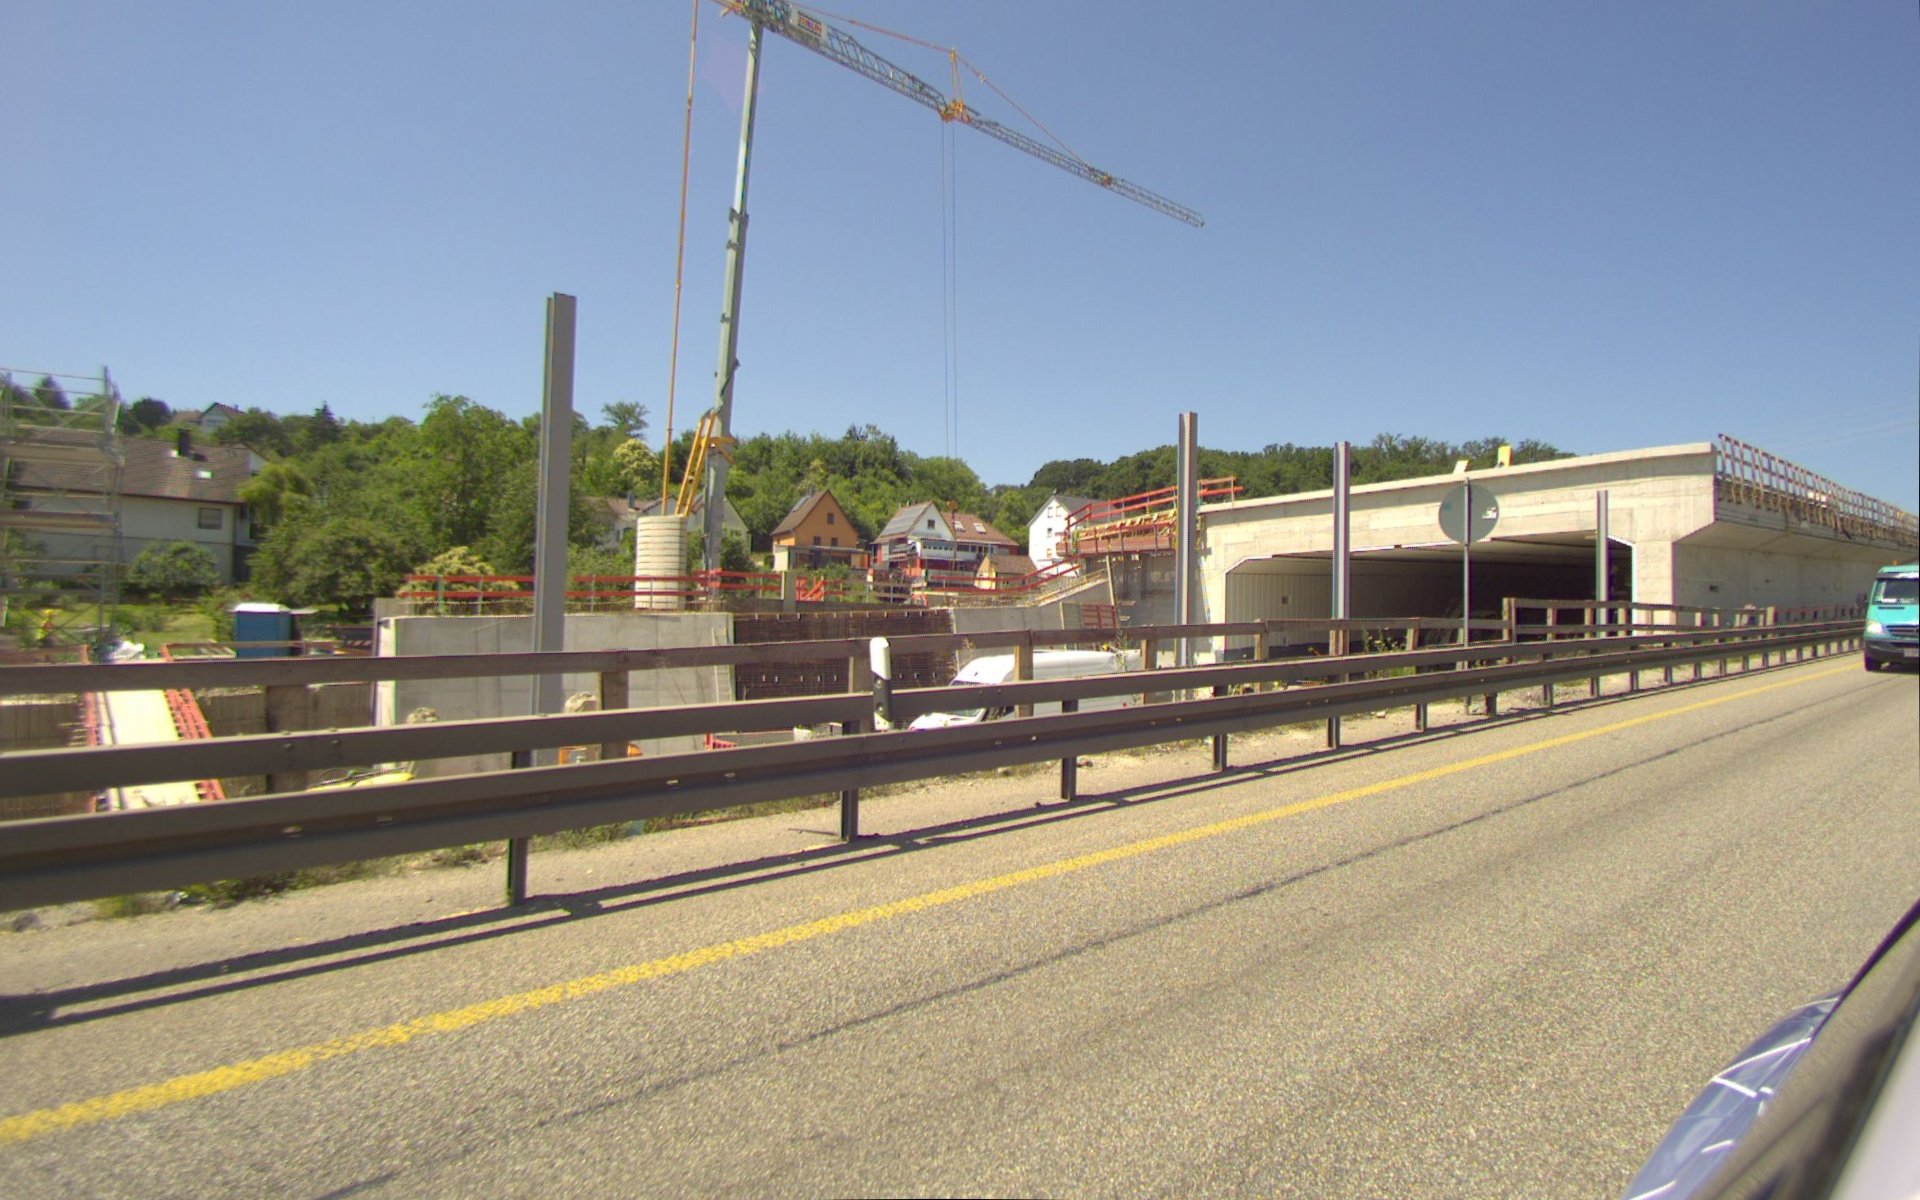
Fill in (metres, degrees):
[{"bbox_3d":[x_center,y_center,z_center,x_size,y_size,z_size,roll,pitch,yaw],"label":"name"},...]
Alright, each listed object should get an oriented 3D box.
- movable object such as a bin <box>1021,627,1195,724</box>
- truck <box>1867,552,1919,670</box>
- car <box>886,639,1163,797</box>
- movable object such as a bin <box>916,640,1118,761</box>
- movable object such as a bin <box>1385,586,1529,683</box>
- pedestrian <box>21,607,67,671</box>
[{"bbox_3d":[5.244,2.929,37.677,3.425,2.941,7.159,-1,-8,-18],"label":"movable object such as a bin"},{"bbox_3d":[22.315,0.141,22.579,7.303,2.386,2.138,-2,1,-40],"label":"truck"},{"bbox_3d":[1.714,2.597,24.228,6.893,2.891,2.151,-2,1,-37],"label":"car"},{"bbox_3d":[1.642,2.613,27.850,5.398,2.710,2.151,-2,1,-36],"label":"movable object such as a bin"},{"bbox_3d":[23.981,1.478,48.581,8.998,4.113,2.958,-2,1,-41],"label":"movable object such as a bin"},{"bbox_3d":[-29.846,1.249,32.995,0.954,2.012,1.140,-1,1,-37],"label":"pedestrian"}]
